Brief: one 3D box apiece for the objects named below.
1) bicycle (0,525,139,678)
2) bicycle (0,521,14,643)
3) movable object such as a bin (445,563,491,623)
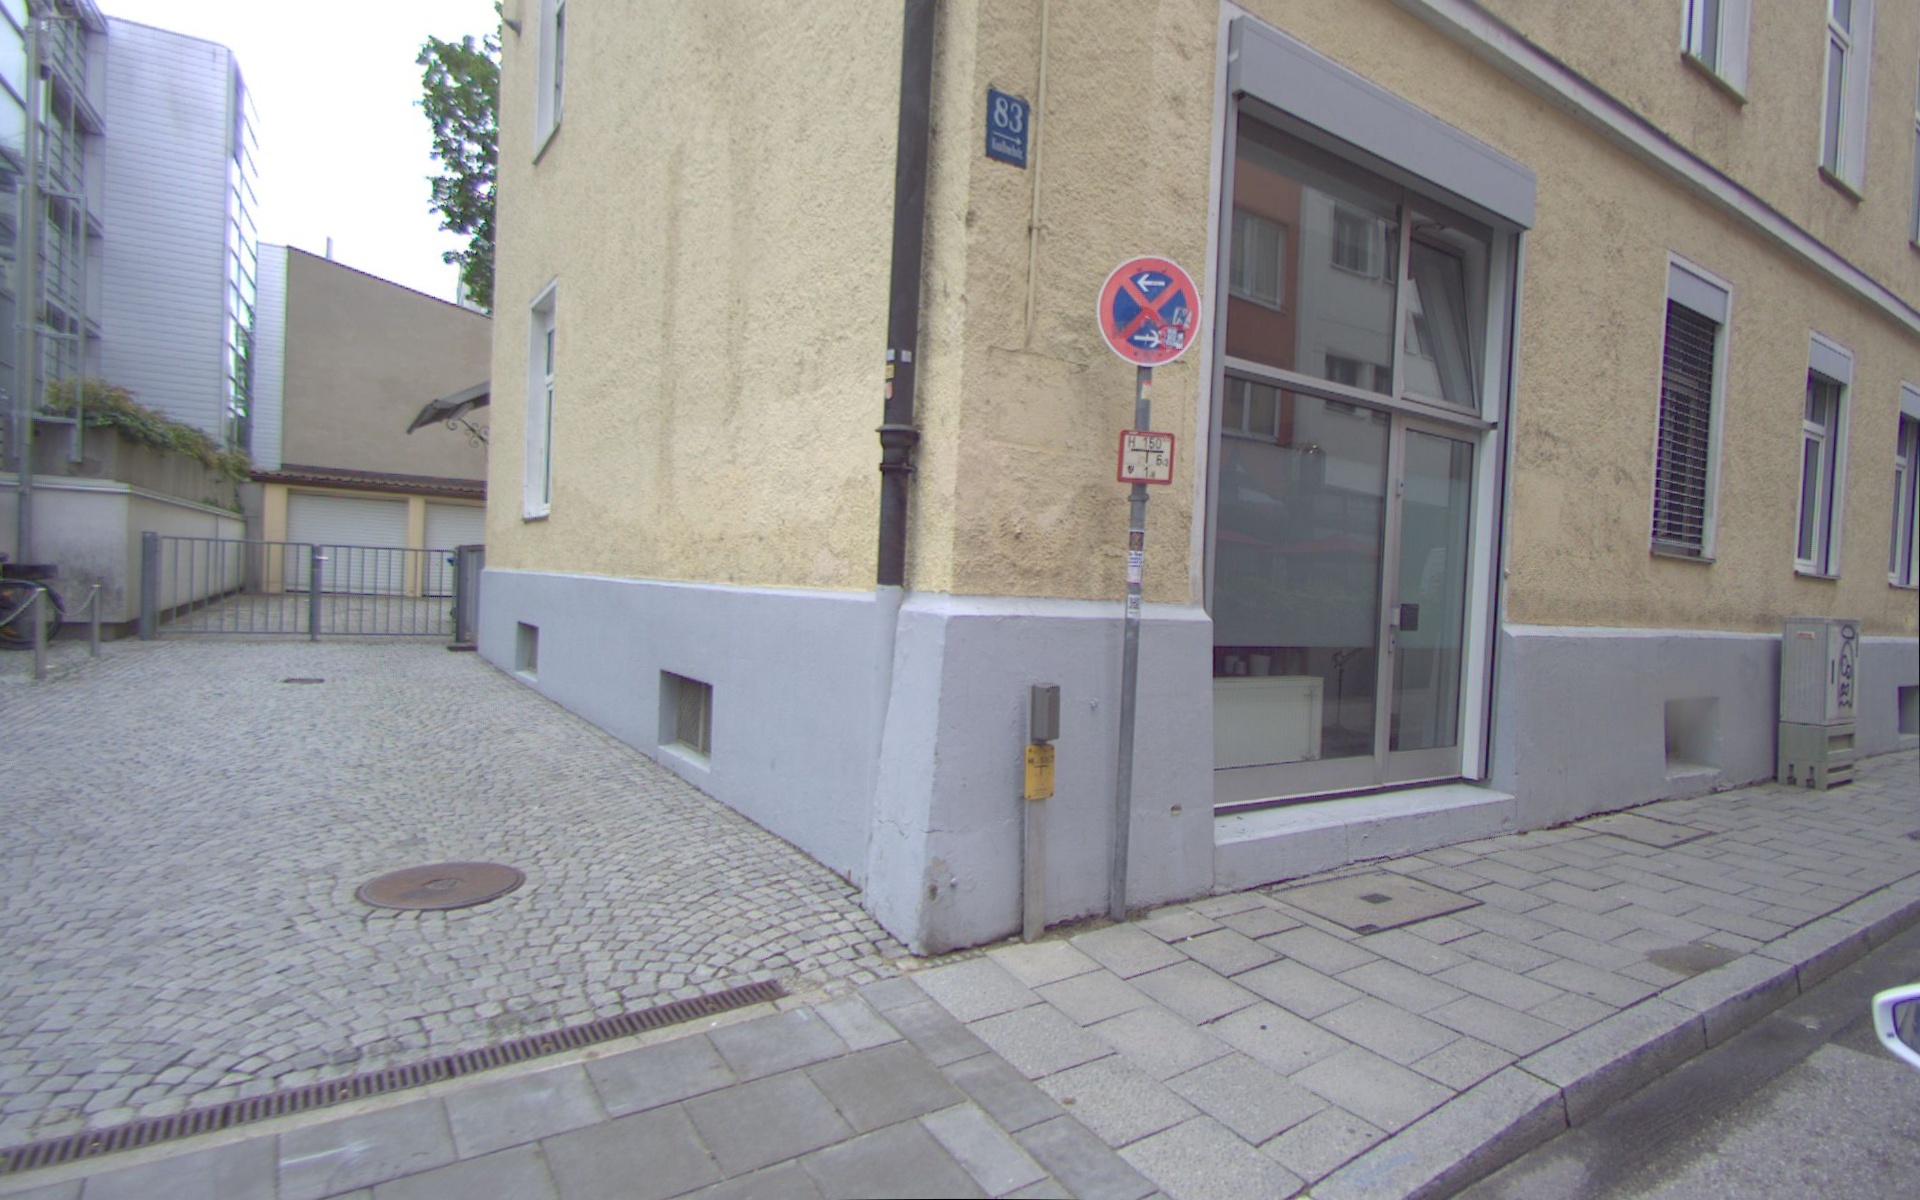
[{"bbox_3d":[-8.587,-0.057,9.664,0.759,1.268,2.834,2,3,-33],"label":"bicycle"},{"bbox_3d":[-9.712,-0.128,9.352,0.759,1.268,3.204,2,3,-33],"label":"bicycle"},{"bbox_3d":[-8.436,-0.125,17.214,0.642,0.984,0.475,2,3,-31],"label":"movable object such as a bin"}]
